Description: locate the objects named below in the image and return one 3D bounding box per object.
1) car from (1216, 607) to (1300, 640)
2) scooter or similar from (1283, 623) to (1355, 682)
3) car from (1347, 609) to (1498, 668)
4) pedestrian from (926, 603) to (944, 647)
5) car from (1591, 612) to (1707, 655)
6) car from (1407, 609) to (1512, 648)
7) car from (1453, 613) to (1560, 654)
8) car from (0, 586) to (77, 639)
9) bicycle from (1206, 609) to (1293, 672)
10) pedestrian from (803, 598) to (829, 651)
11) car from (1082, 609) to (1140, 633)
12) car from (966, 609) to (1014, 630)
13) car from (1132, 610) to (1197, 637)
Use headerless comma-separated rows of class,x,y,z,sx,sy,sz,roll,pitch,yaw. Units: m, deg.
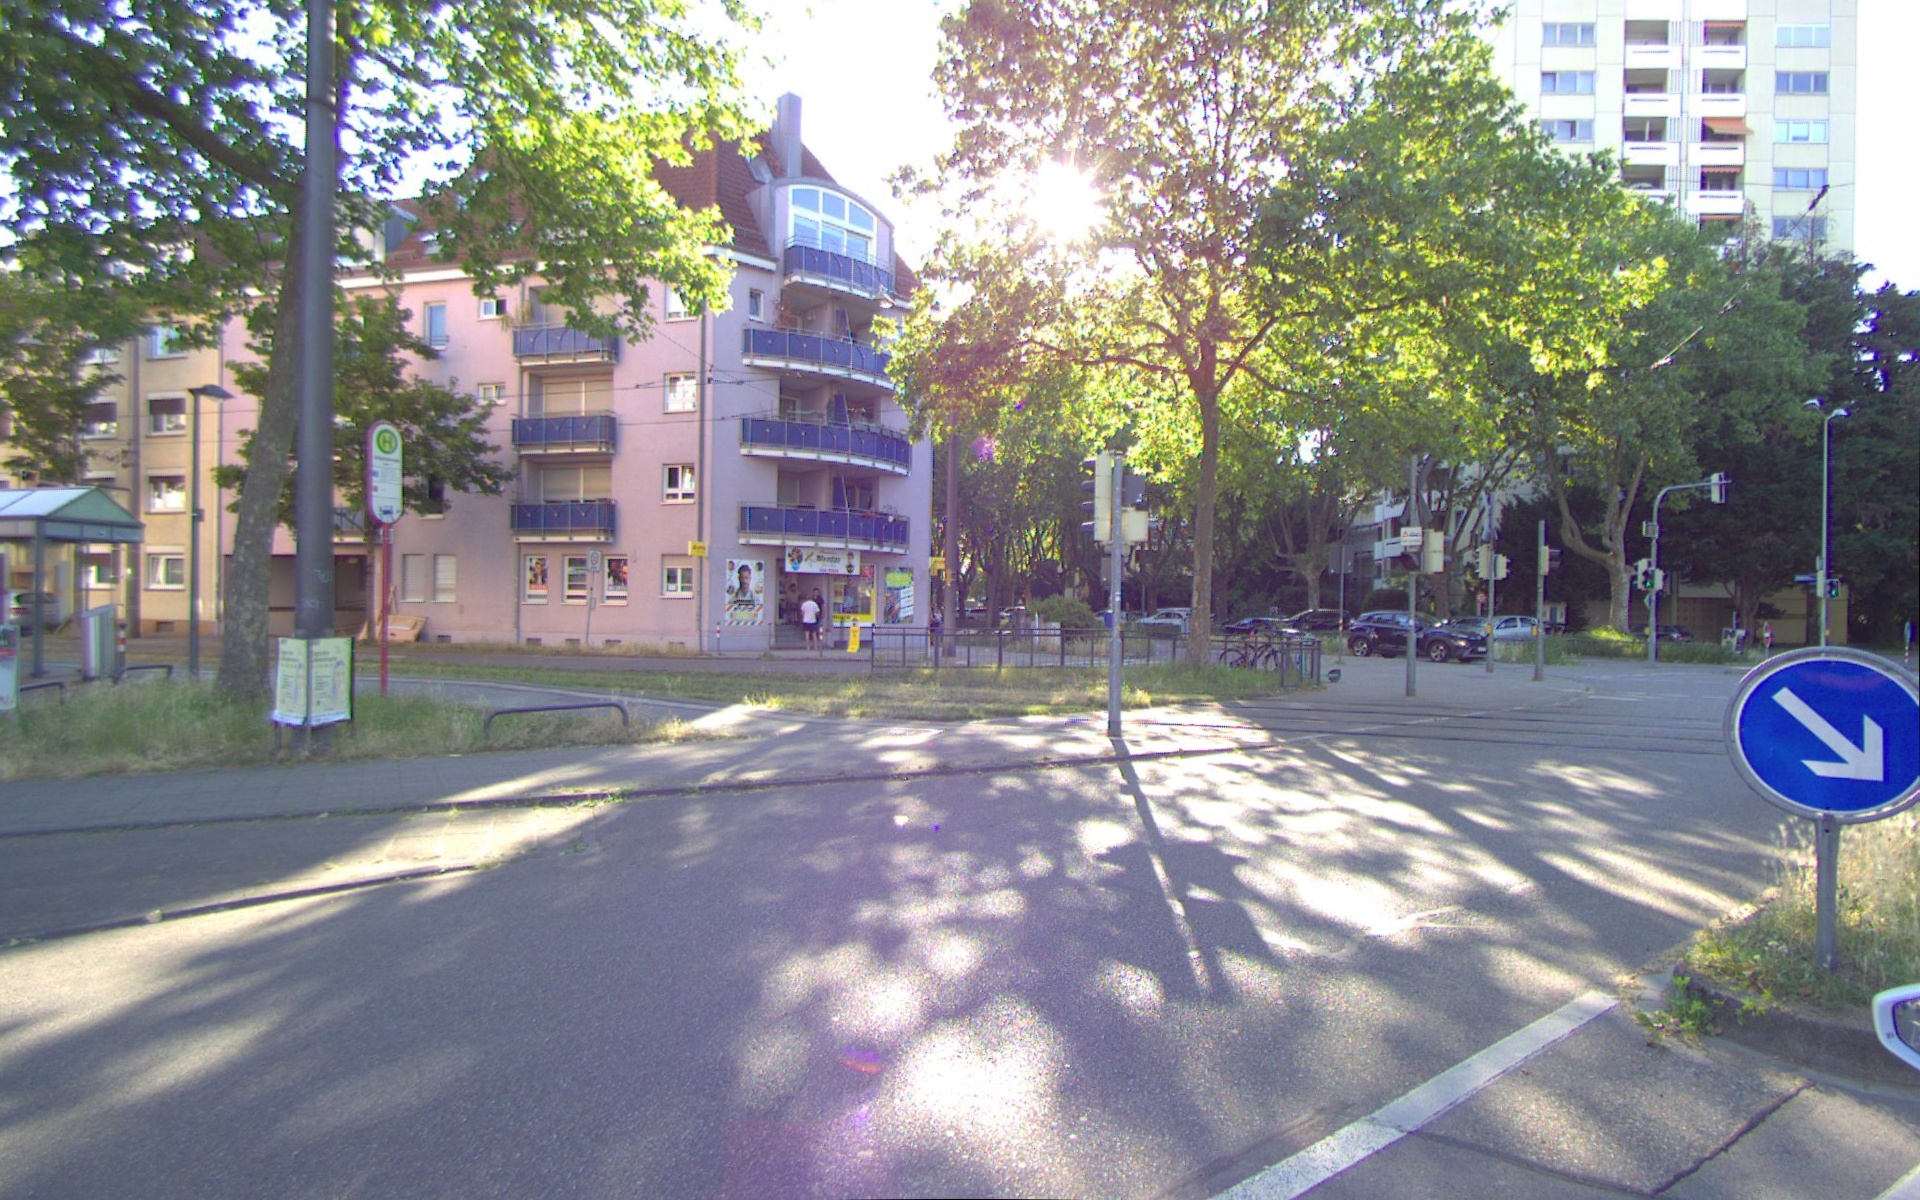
car,15.905,1.242,53.677,3.921,1.617,1.738,2,0,0
scooter or similar,7.917,1.150,22.198,1.412,1.255,0.414,2,0,9
car,14.360,1.161,31.370,1.722,1.617,3.959,2,0,-36
pedestrian,-0.970,0.975,39.455,0.542,1.689,0.618,2,0,-13
car,31.610,1.520,46.199,1.971,1.798,3.979,2,0,-22
car,22.834,1.300,46.029,3.921,1.617,1.738,2,0,0
car,23.873,1.453,43.978,3.732,1.617,1.738,2,0,0
car,-33.485,0.393,35.209,4.029,1.728,1.940,2,0,16
bicycle,6.395,0.878,22.240,1.811,1.324,0.382,2,0,34
pedestrian,-4.683,0.792,32.663,0.610,1.689,0.549,2,0,38
car,11.074,1.525,73.892,3.921,1.617,1.738,2,0,0
car,2.597,1.671,86.360,3.919,1.617,1.739,2,0,9
car,13.393,1.553,65.978,3.921,1.617,1.738,2,0,0
